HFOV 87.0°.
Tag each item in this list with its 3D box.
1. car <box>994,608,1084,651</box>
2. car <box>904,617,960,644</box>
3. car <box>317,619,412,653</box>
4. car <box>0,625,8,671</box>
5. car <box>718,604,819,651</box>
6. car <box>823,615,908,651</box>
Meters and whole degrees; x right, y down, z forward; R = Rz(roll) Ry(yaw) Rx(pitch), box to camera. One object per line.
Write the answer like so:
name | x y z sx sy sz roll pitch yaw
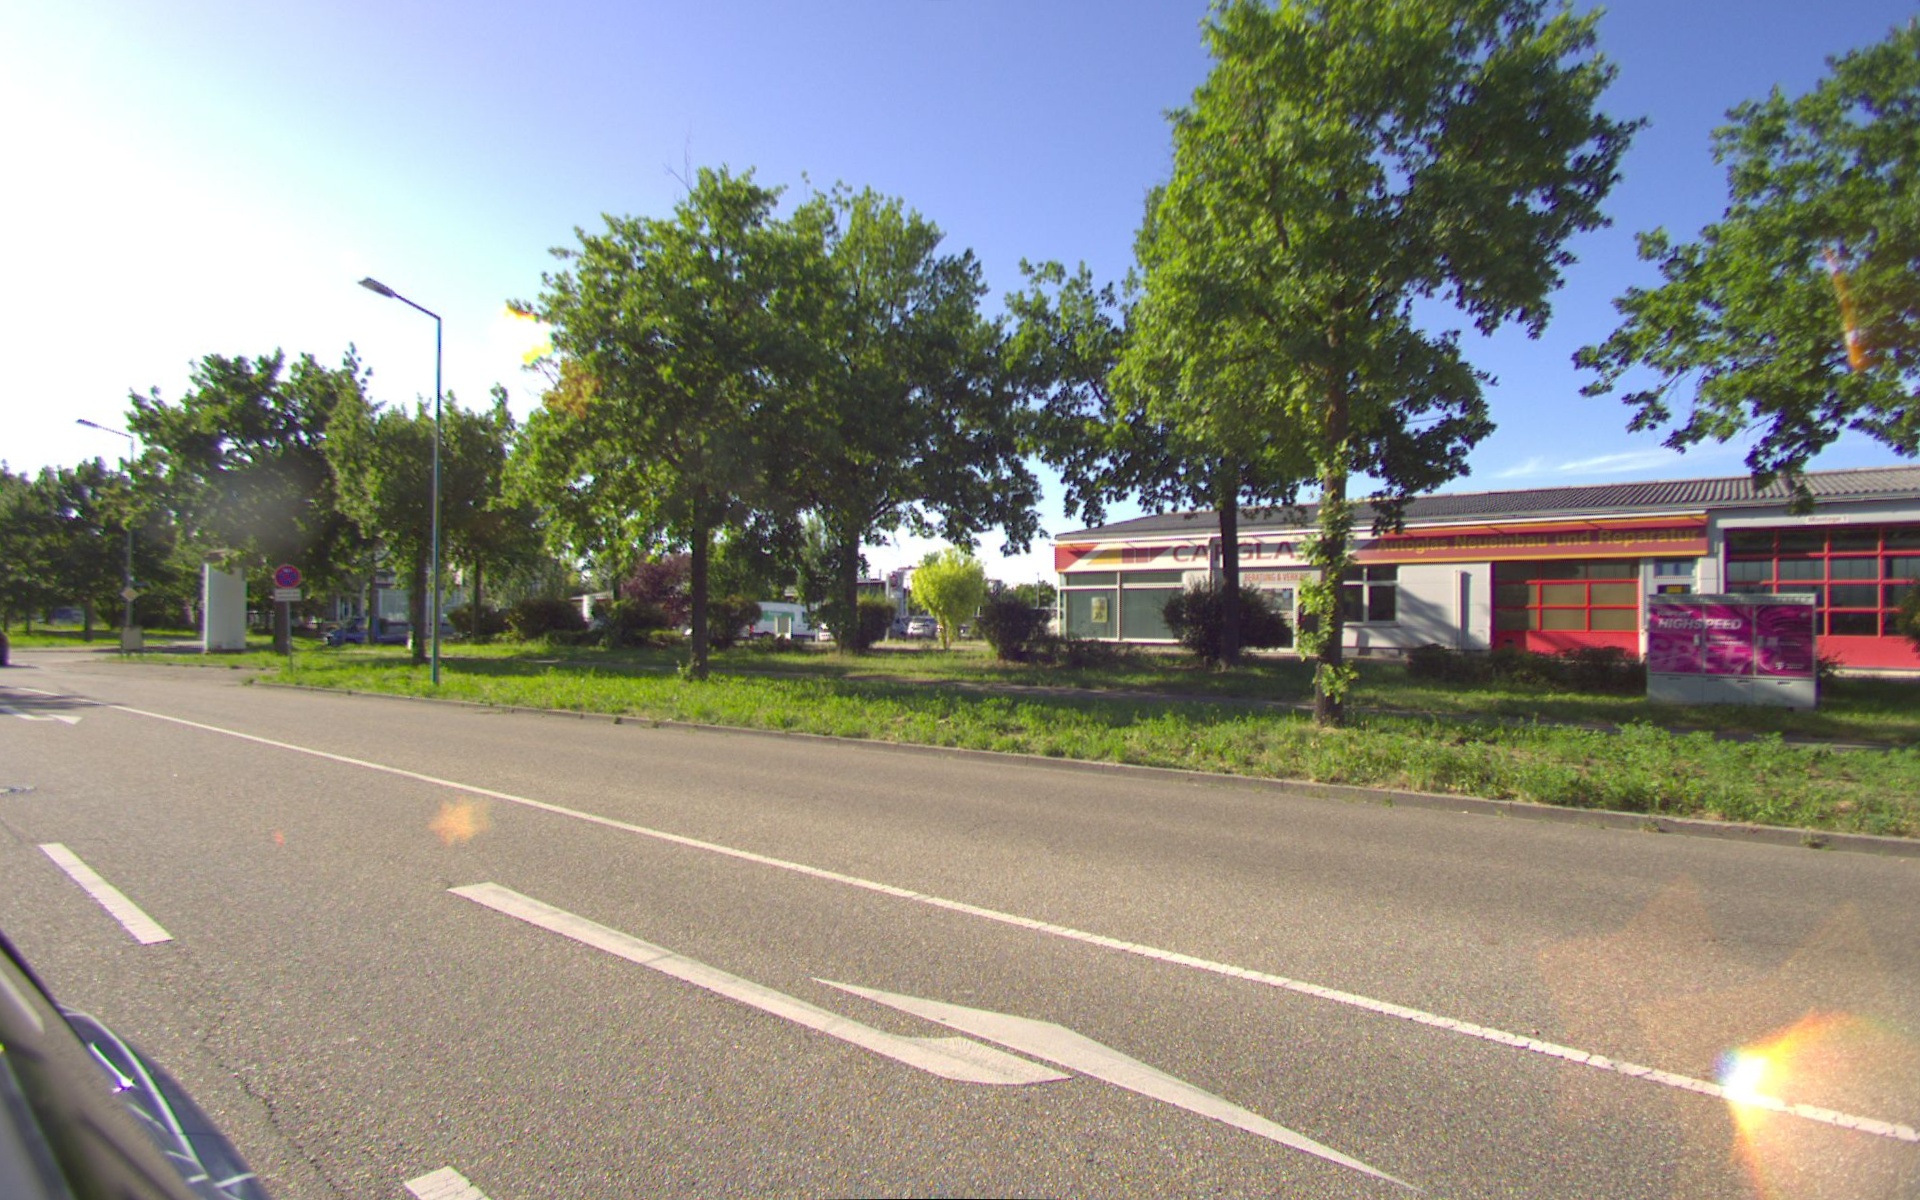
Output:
car | 3.206 1.151 40.608 1.734 1.583 3.769 -3 -1 40
car | -1.881 2.041 68.626 1.761 1.684 3.811 -1 0 40
car | -35.980 2.150 61.234 1.999 1.847 4.578 -1 0 41
car | -34.241 1.600 34.578 4.073 1.537 1.746 -1 -3 37
car | -11.461 1.590 61.003 2.406 2.574 5.952 -1 0 36
car | -5.154 1.760 55.792 1.989 1.795 4.583 -1 0 40
